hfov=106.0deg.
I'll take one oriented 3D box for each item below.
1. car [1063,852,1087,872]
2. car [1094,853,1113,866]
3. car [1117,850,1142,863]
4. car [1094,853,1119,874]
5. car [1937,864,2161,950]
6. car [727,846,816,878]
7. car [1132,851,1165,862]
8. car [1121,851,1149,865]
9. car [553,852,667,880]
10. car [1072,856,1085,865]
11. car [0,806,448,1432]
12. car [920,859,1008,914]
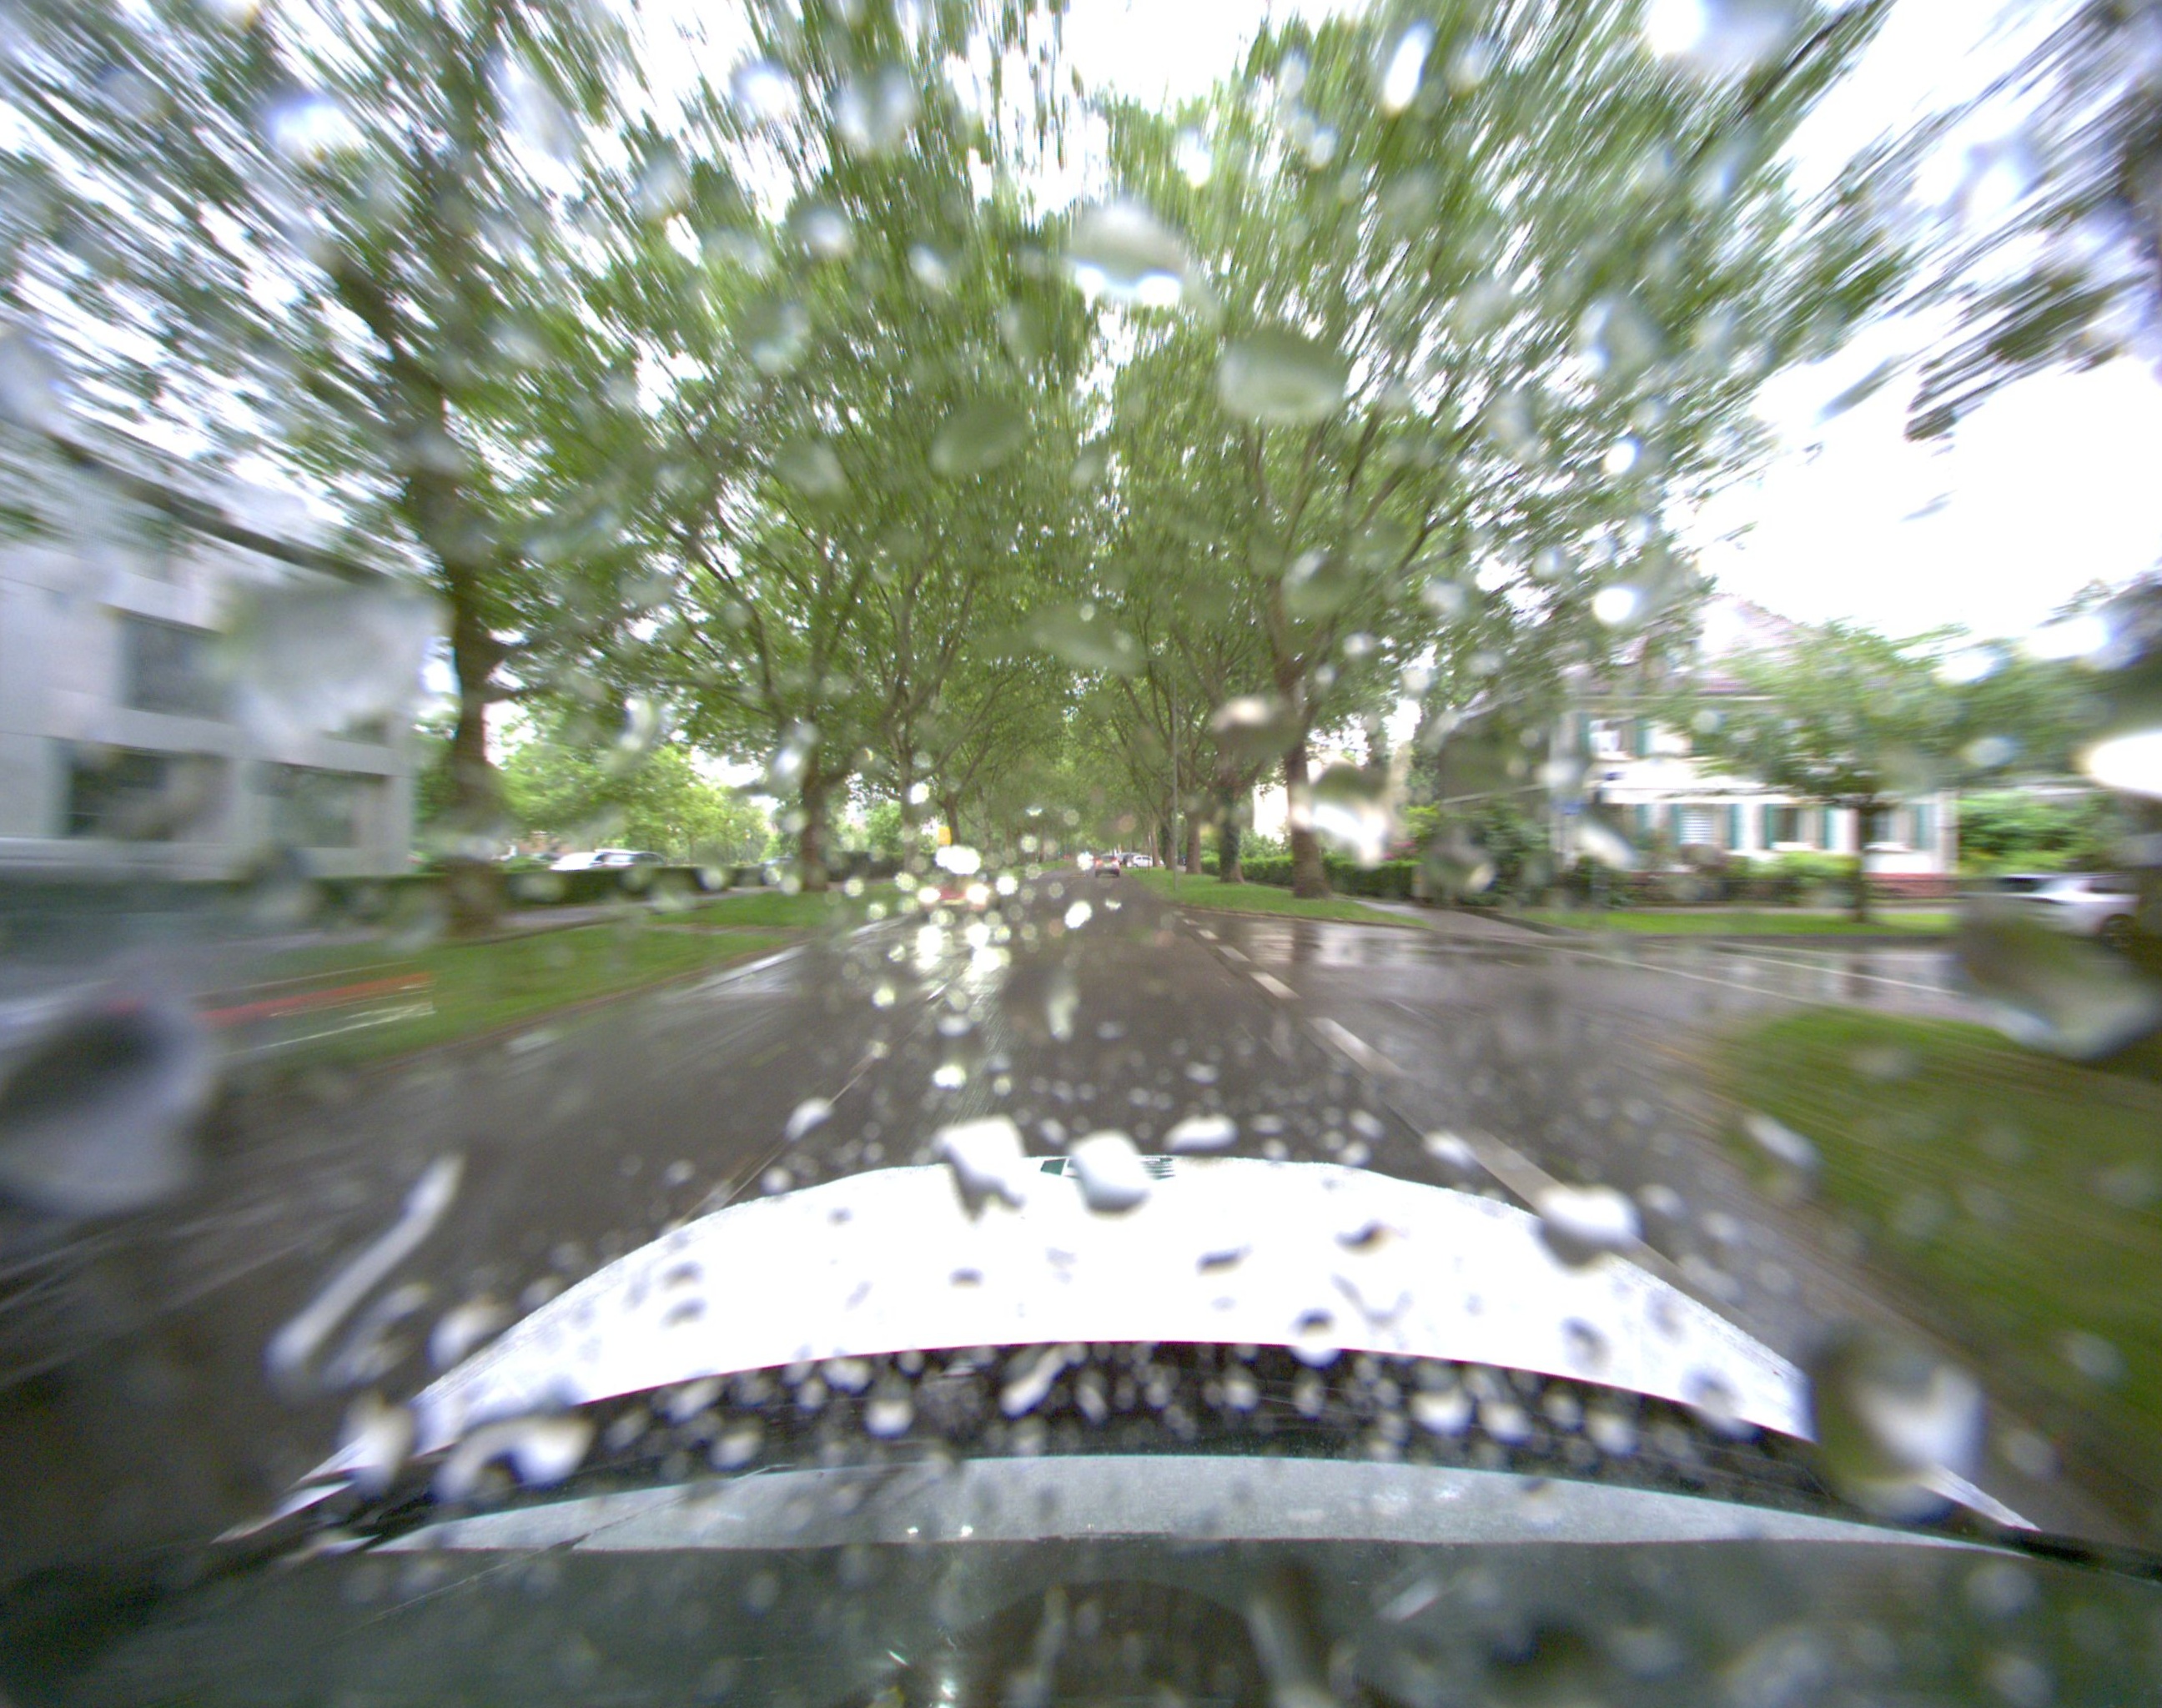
[{"bbox_3d":[-0.431,0.604,61.451,1.700,1.411,3.646,-2,0,1],"label":"car"},{"bbox_3d":[2.464,0.571,88.200,1.986,1.317,4.002,0,0,2],"label":"car"},{"bbox_3d":[7.082,0.375,118.864,3.536,1.841,1.711,-2,0,-1],"label":"car"},{"bbox_3d":[1.847,0.657,59.525,1.700,1.411,3.646,-2,0,1],"label":"car"},{"bbox_3d":[20.089,1.014,16.020,4.389,1.520,1.987,1,0,1],"label":"car"},{"bbox_3d":[-16.555,0.409,43.692,3.972,1.623,2.001,0,0,1],"label":"car"},{"bbox_3d":[7.542,0.291,90.912,3.537,1.155,1.711,-2,0,-2],"label":"car"},{"bbox_3d":[6.905,0.468,104.591,3.536,1.645,1.711,-2,0,-1],"label":"car"},{"bbox_3d":[-21.295,0.532,36.915,3.973,1.134,2.000,1,0,1],"label":"car"},{"bbox_3d":[-0.382,0.977,125.192,1.713,1.255,4.002,1,0,2],"label":"car"},{"bbox_3d":[-3.838,0.736,1.485,1.803,1.684,4.449,-1,0,1],"label":"car"},{"bbox_3d":[-2.999,0.797,21.561,1.700,1.250,3.646,-2,0,1],"label":"car"}]
